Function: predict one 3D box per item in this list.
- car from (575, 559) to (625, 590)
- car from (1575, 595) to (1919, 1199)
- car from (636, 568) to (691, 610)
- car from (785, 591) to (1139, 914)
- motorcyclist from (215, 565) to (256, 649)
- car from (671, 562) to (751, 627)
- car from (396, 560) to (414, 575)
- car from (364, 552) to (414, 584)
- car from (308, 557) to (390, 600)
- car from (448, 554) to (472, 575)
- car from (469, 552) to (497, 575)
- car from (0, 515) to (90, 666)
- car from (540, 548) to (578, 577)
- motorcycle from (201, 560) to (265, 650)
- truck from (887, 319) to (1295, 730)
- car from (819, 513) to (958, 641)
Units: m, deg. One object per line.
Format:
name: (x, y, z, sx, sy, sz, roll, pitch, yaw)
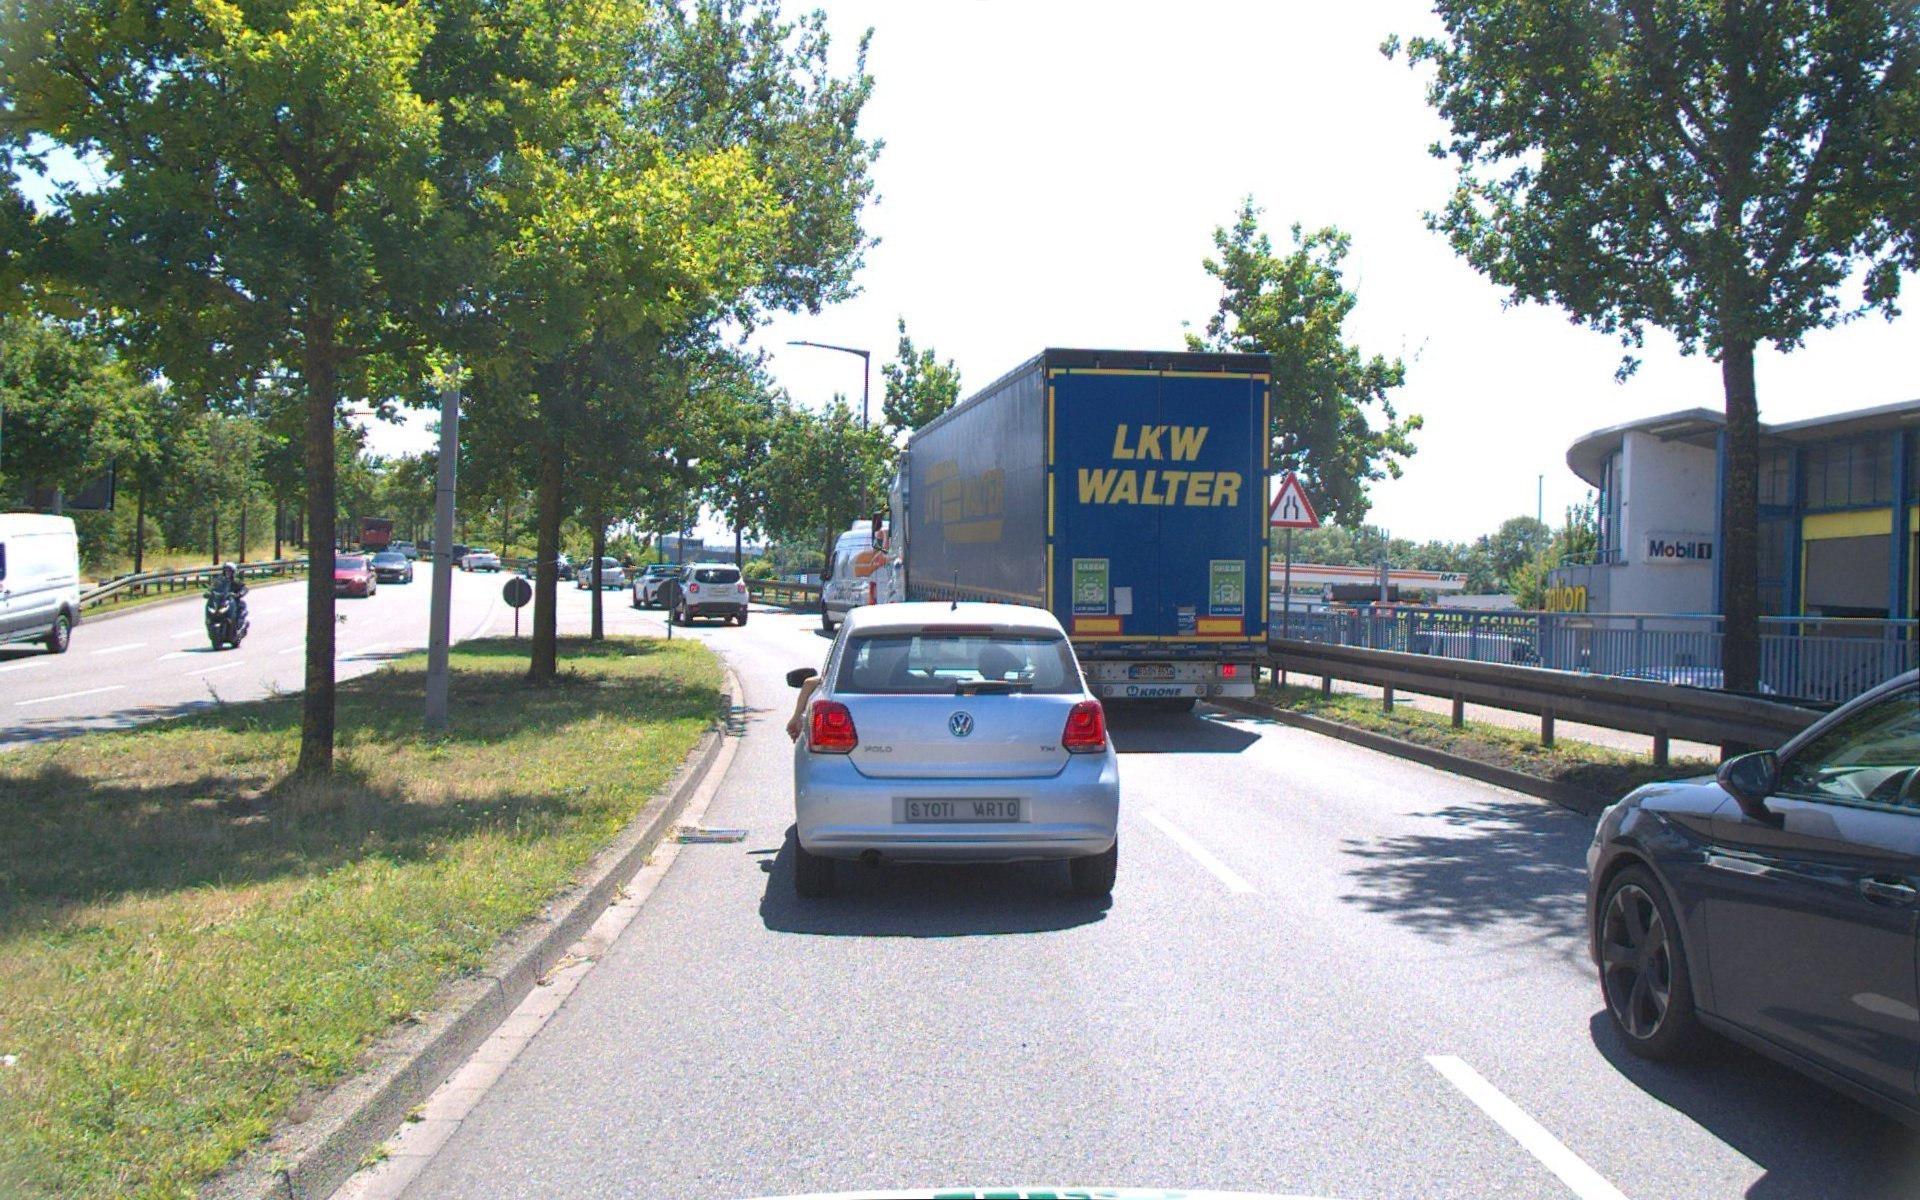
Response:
car: (-16.703, -1.176, 76.600, 1.586, 1.383, 3.636, 1, 1, -23)
car: (3.146, 0.744, 3.962, 1.573, 1.481, 4.232, 1, 0, -3)
car: (-10.247, -0.394, 57.019, 1.470, 1.383, 3.646, 1, 1, -17)
car: (-0.064, 0.717, 9.410, 1.613, 1.464, 3.535, 1, 0, -3)
motorcyclist: (-14.521, 0.133, 33.154, 0.576, 1.655, 0.561, 1, -1, -9)
car: (-7.156, -0.148, 47.264, 1.871, 1.748, 4.208, 1, 0, -14)
car: (-44.458, -2.582, 132.455, 1.302, 1.158, 2.977, 1, 0, -20)
car: (-26.335, -1.455, 76.367, 1.779, 1.357, 4.551, 1, 0, -15)
car: (-22.416, -0.770, 60.825, 1.796, 1.462, 4.519, -1, 0, -7)
car: (-34.228, -2.404, 113.184, 1.396, 1.337, 3.318, 1, 0, -20)
car: (-29.416, -2.234, 101.975, 1.435, 1.337, 3.617, 1, 0, -20)
car: (-17.345, -0.197, 28.884, 2.056, 2.544, 5.797, 0, 2, -10)
car: (-21.874, -2.025, 90.096, 1.640, 1.490, 3.560, 1, 0, -20)
motorcycle: (-14.509, 0.100, 33.074, 0.587, 1.707, 2.419, 1, 0, -10)
truck: (1.056, -0.858, 25.670, 2.780, 4.271, 16.445, 1, 0, -8)
car: (-1.930, -0.622, 41.928, 2.140, 2.951, 6.333, 1, 1, -15)
